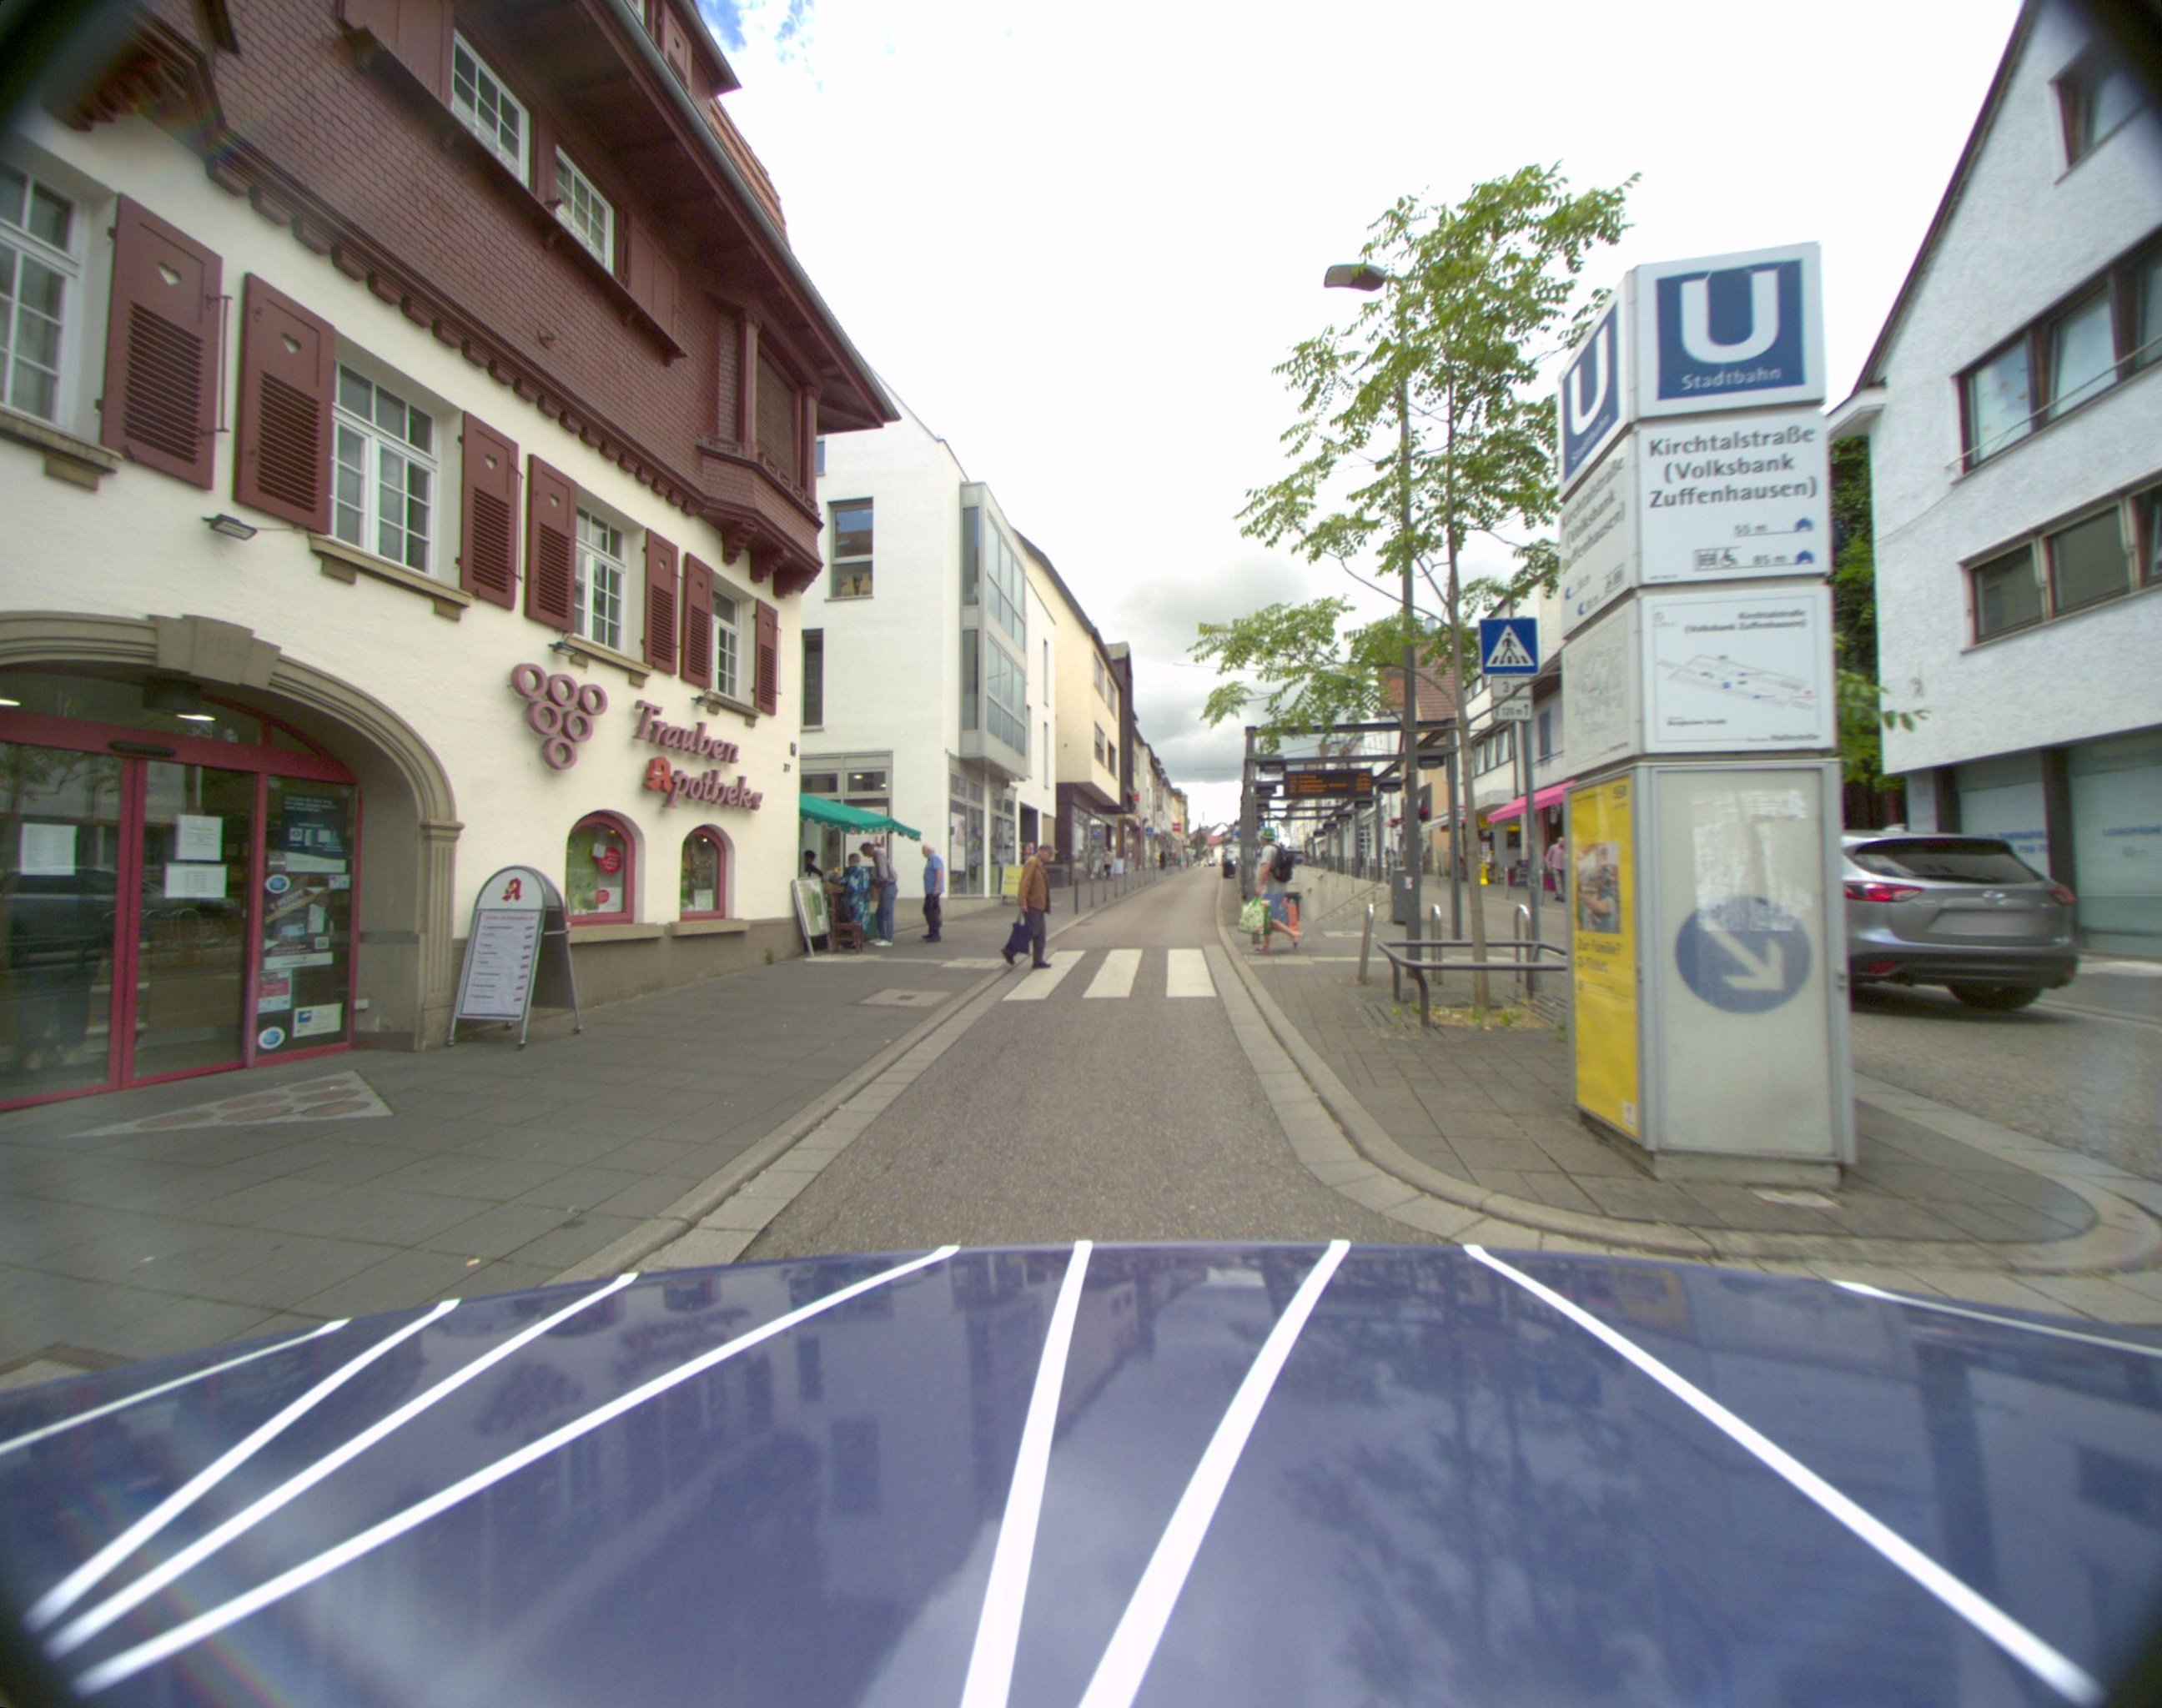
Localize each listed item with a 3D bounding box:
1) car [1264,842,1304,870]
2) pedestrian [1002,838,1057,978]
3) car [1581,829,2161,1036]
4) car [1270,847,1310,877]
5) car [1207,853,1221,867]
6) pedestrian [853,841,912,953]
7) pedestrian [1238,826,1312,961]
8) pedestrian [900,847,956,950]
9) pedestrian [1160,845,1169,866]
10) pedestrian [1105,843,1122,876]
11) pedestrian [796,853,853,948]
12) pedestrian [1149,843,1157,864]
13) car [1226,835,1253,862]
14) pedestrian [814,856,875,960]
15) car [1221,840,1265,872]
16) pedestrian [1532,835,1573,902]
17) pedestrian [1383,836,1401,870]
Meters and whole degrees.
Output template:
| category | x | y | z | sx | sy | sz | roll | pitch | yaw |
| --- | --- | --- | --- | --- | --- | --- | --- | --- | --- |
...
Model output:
| category | x | y | z | sx | sy | sz | roll | pitch | yaw |
| --- | --- | --- | --- | --- | --- | --- | --- | --- | --- |
| car | 12.653 | 0.114 | 47.631 | 1.997 | 1.580 | 4.498 | -2 | 0 | 11 |
| pedestrian | -0.683 | 0.695 | 10.161 | 0.676 | 1.791 | 0.788 | -1 | 1 | -3 |
| car | 7.626 | 0.598 | 8.169 | 1.967 | 1.612 | 4.357 | 0 | 0 | 6 |
| car | 11.167 | 0.405 | 40.771 | 1.702 | 1.539 | 3.901 | -1 | 0 | 11 |
| car | 19.944 | 0.865 | 114.164 | 1.997 | 2.002 | 4.003 | -1 | 1 | 11 |
| pedestrian | -3.423 | 0.714 | 13.104 | 0.704 | 1.846 | 0.778 | -2 | 1 | -37 |
| pedestrian | 2.725 | 0.517 | 10.593 | 0.918 | 1.777 | 0.989 | 0 | 1 | 18 |
| pedestrian | -2.698 | 0.762 | 13.435 | 0.700 | 1.756 | 0.627 | 0 | 1 | 36 |
| pedestrian | 6.770 | 0.145 | 61.411 | 0.663 | 1.696 | 0.780 | -1 | 1 | 8 |
| pedestrian | 1.660 | 0.263 | 38.959 | 0.759 | 1.664 | 0.780 | 2 | 1 | 8 |
| pedestrian | -4.501 | 0.795 | 13.355 | 0.624 | 1.603 | 0.703 | -1 | 1 | 15 |
| pedestrian | 5.851 | -0.015 | 61.709 | 0.638 | 1.689 | 0.709 | 0 | 1 | 5 |
| car | 9.806 | -0.340 | 47.087 | 1.575 | 1.600 | 3.536 | 0 | 1 | 11 |
| pedestrian | -3.805 | 0.849 | 12.265 | 0.624 | 1.603 | 0.703 | -1 | 1 | 15 |
| car | 8.584 | 0.093 | 40.633 | 1.997 | 1.557 | 4.434 | -2 | 0 | 9 |
| pedestrian | 12.441 | 0.372 | 20.077 | 0.695 | 1.730 | 0.825 | -1 | 1 | 13 |
| pedestrian | 15.884 | -0.054 | 38.832 | 0.748 | 1.704 | 0.664 | -1 | 1 | 11 |
